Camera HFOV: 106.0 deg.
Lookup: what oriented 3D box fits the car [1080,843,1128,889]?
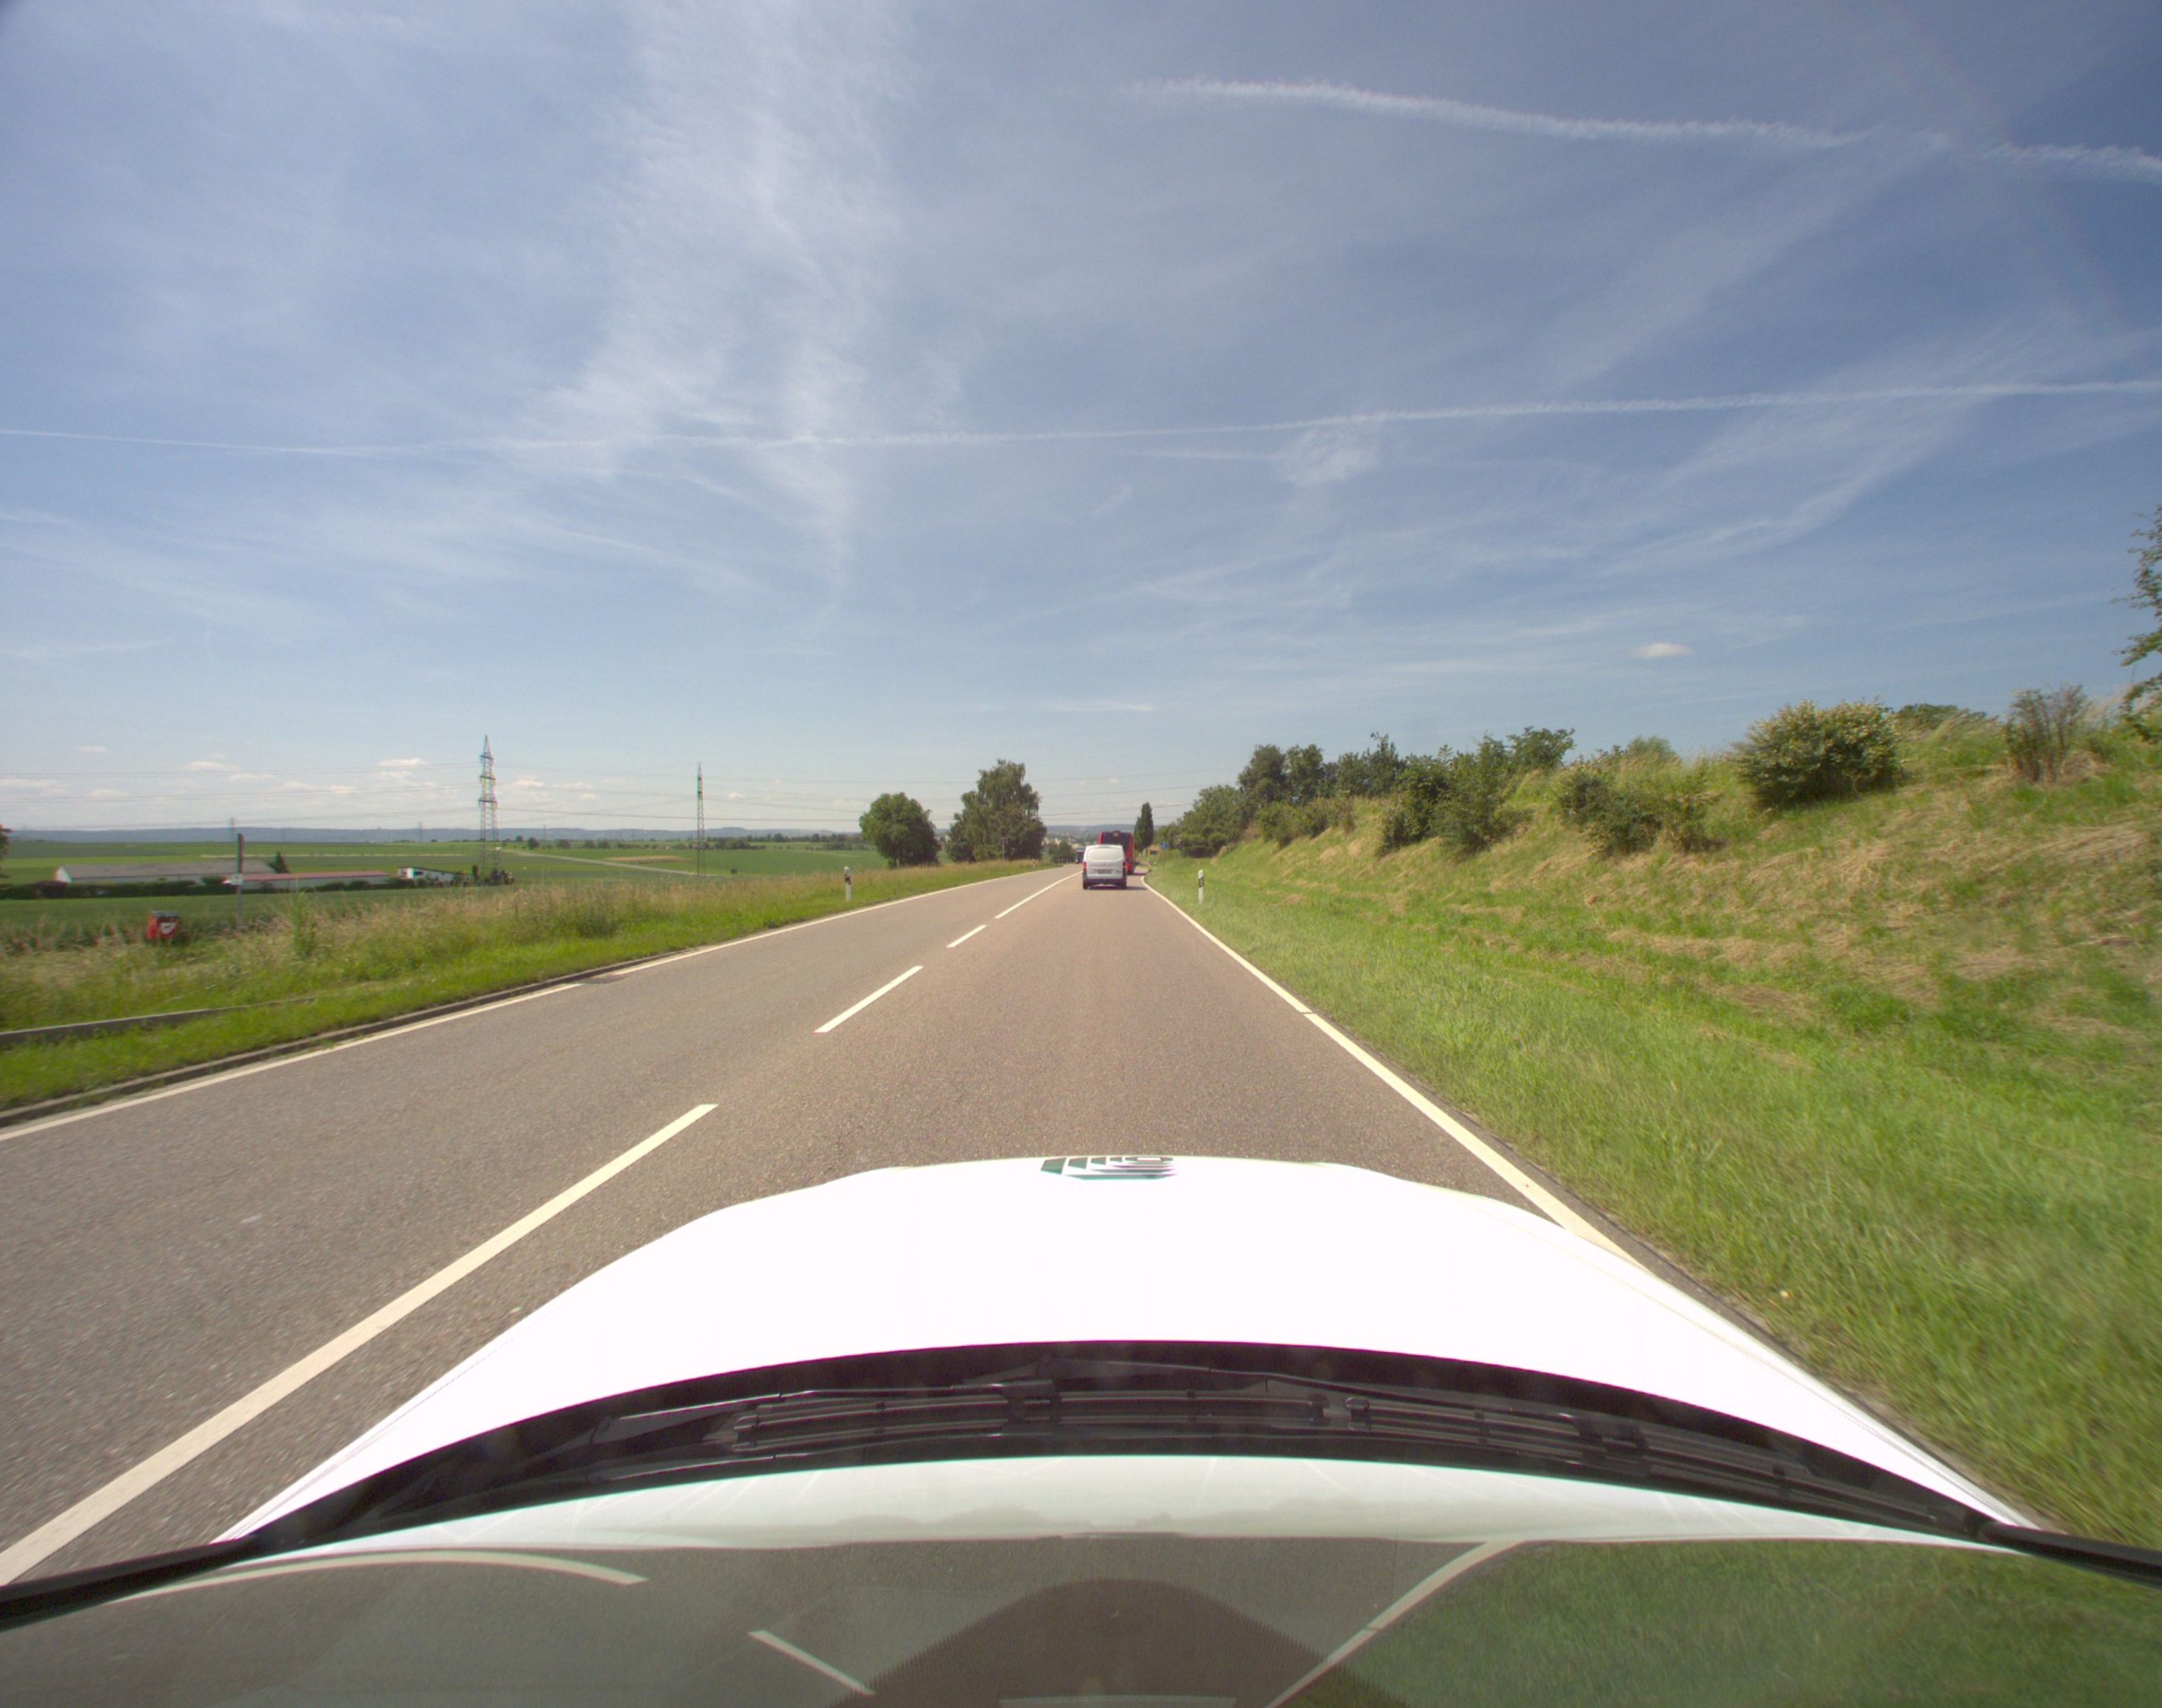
[{"bbox_3d":[1.039,0.490,35.628,1.916,1.889,4.002,-1,0,2],"label":"car"}]

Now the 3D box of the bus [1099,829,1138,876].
[{"bbox_3d":[3.061,-0.256,66.210,2.736,3.353,13.232,-2,1,3],"label":"bus"}]

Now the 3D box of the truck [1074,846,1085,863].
[{"bbox_3d":[-0.408,0.093,192.560,2.577,4.104,5.439,0,0,-1],"label":"truck"}]
